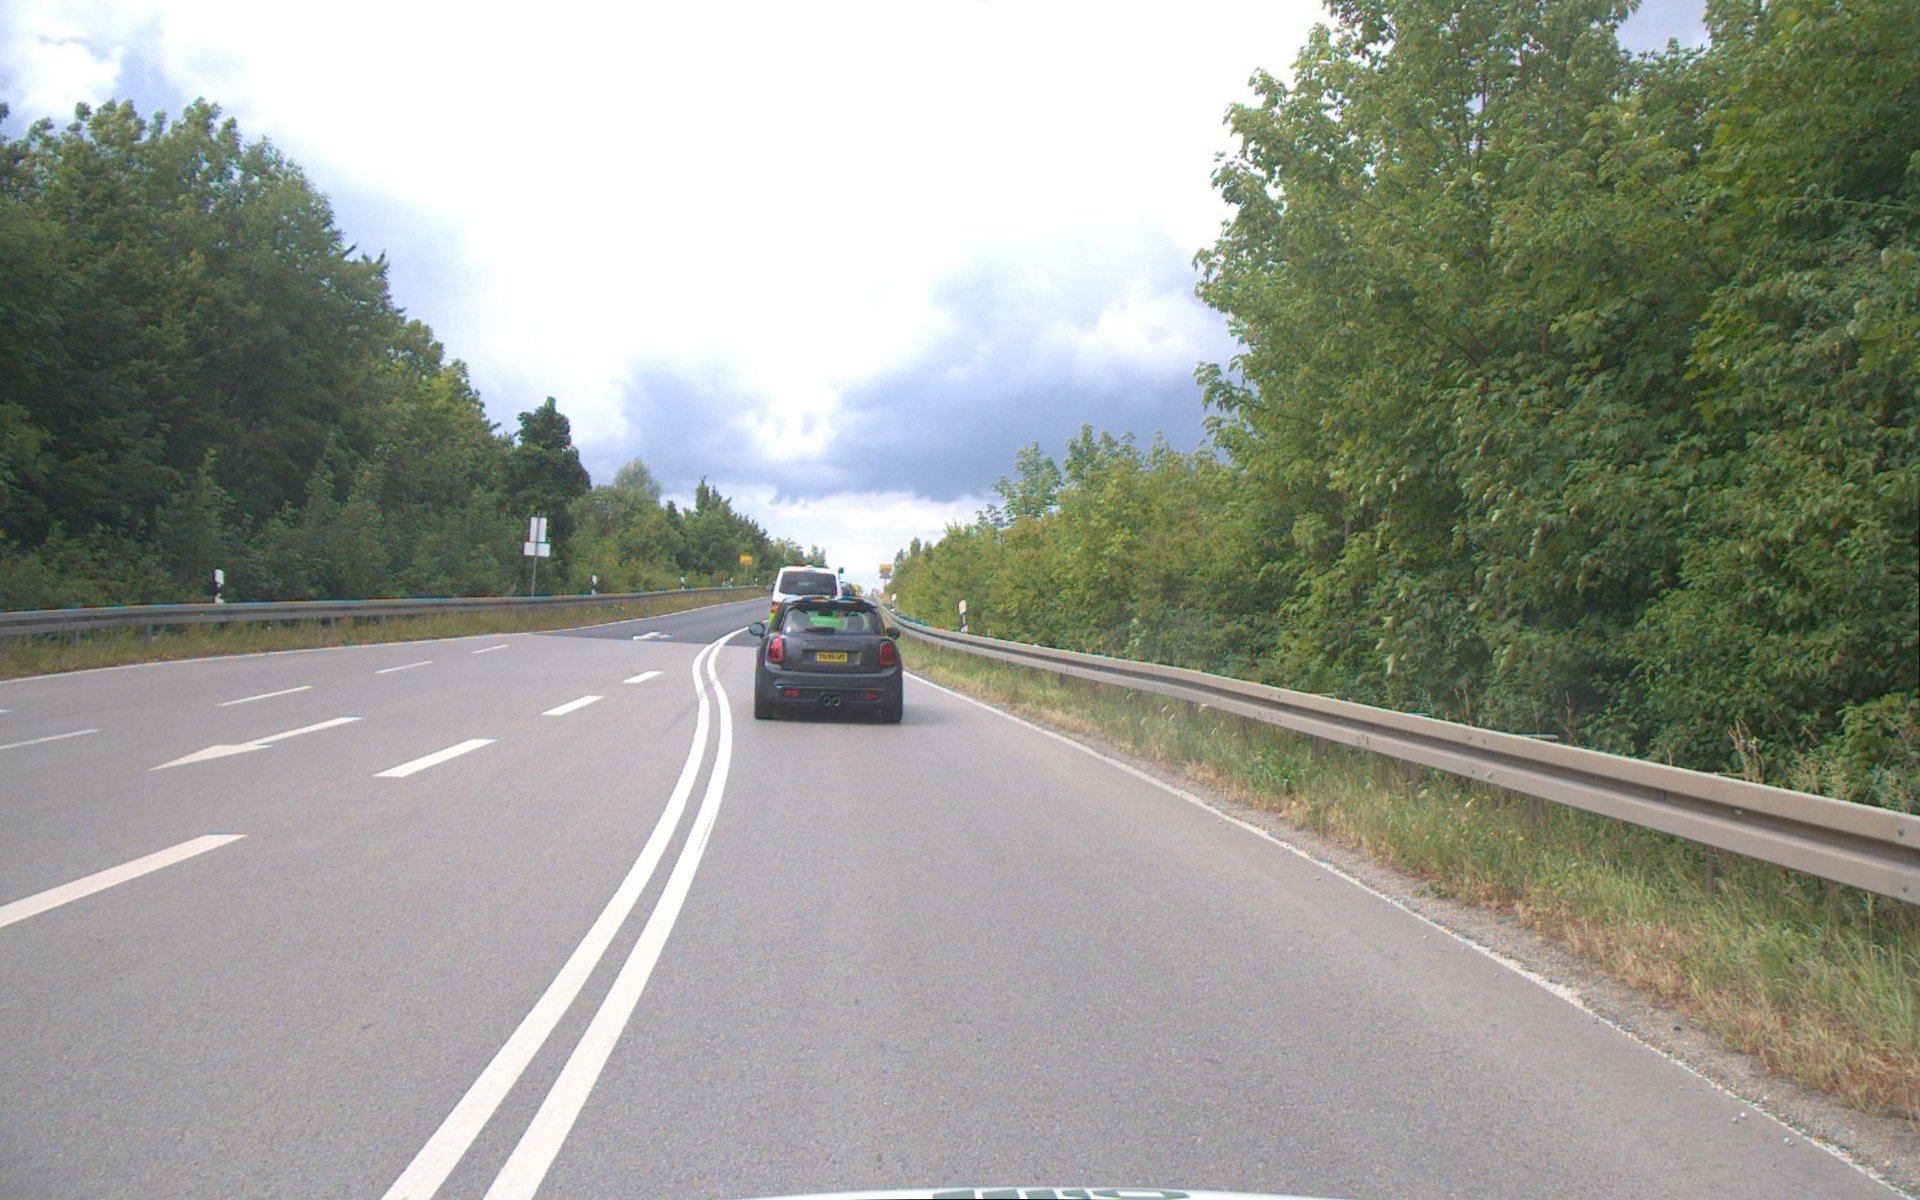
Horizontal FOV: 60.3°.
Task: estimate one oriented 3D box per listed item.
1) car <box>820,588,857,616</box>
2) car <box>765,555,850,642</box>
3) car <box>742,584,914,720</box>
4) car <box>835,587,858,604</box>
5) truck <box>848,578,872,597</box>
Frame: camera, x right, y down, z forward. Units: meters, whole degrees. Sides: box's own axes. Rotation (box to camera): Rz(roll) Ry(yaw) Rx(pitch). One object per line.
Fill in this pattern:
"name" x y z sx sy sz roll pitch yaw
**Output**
"car" -5.829 0.072 79.501 1.660 1.243 3.998 1 1 -3
"car" -3.915 -0.065 41.988 1.984 2.048 3.994 2 0 -7
"car" -1.719 0.563 20.381 1.701 1.481 3.990 1 1 -11
"car" -9.168 -0.381 133.839 1.660 1.342 3.999 1 1 -2
"truck" -13.063 -1.625 216.249 2.851 2.413 10.448 0 1 -2
